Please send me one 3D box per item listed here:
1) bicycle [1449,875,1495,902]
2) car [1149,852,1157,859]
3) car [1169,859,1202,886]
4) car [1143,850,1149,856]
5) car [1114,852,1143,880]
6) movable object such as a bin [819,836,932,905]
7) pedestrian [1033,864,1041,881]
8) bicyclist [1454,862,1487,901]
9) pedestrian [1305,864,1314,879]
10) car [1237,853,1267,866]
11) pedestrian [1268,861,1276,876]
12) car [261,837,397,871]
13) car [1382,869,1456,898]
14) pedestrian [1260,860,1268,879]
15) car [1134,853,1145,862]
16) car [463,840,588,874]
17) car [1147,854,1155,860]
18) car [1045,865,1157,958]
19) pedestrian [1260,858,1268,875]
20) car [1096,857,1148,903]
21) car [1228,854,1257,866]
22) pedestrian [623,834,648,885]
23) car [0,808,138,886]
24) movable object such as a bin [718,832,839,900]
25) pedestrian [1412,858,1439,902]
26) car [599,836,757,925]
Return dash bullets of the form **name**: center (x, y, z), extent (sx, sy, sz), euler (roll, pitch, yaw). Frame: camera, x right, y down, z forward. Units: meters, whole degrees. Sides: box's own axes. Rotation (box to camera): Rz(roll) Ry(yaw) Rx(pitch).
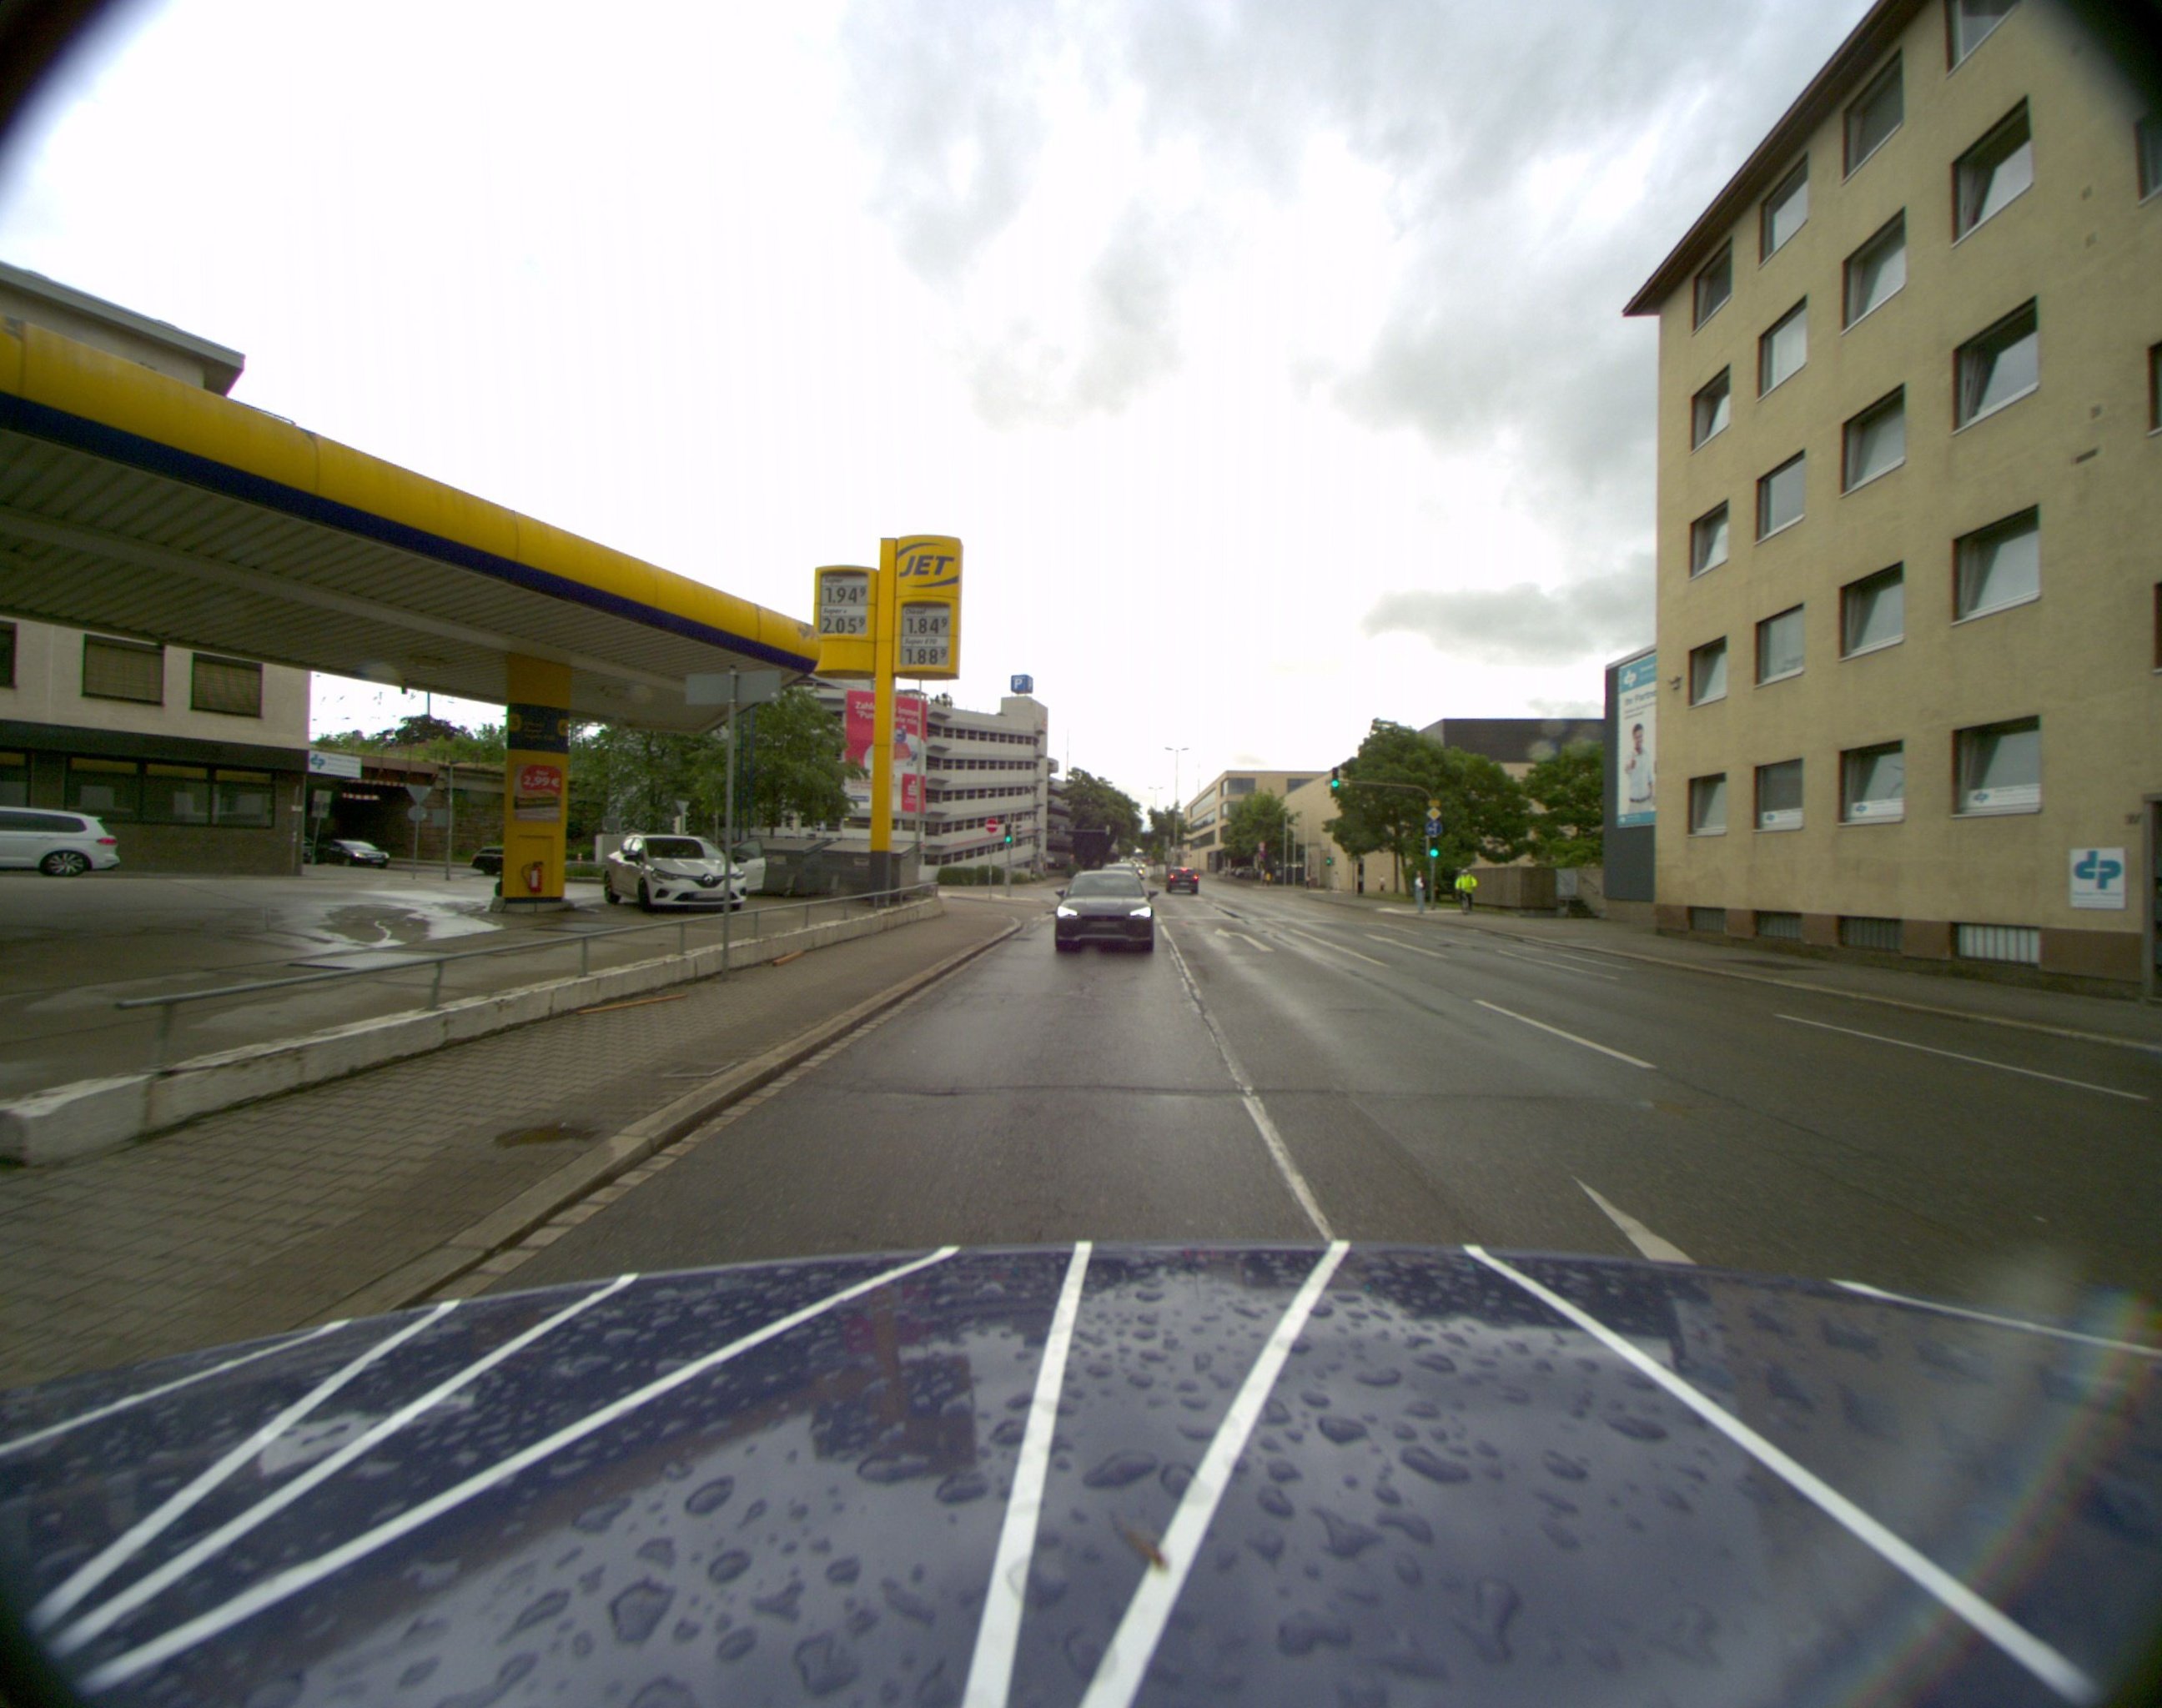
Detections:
- **bicycle**: center (14.733, 1.282, 28.684), extent (0.887, 0.902, 1.867), euler (-1, 0, 6)
- **car**: center (20.179, 0.552, 212.080), extent (1.854, 1.841, 4.301), euler (3, 0, 2)
- **car**: center (6.426, 1.109, 47.208), extent (1.811, 1.585, 4.297), euler (0, 0, 5)
- **car**: center (20.883, -0.312, 244.441), extent (1.675, 1.598, 4.301), euler (3, 0, 2)
- **car**: center (3.351, 0.835, 52.904), extent (1.804, 1.817, 3.951), euler (-2, -1, 5)
- **movable object such as a bin**: center (-4.951, 0.375, 18.542), extent (2.160, 1.565, 1.774), euler (1, 0, 5)
- **pedestrian**: center (-4.543, 1.914, 77.977), extent (0.583, 1.650, 0.519), euler (3, 2, 21)
- **bicyclist**: center (14.710, 1.037, 28.684), extent (0.844, 1.433, 0.813), euler (-1, 0, 6)
- **pedestrian**: center (20.782, 1.598, 69.137), extent (0.622, 1.368, 0.475), euler (-1, 0, 5)
- **car**: center (23.812, 0.758, 106.013), extent (3.994, 1.575, 2.001), euler (-1, 0, 8)
- **pedestrian**: center (18.628, 1.423, 74.178), extent (0.595, 1.507, 0.692), euler (-1, 0, 3)
- **car**: center (-39.563, 0.002, 40.059), extent (5.036, 1.622, 2.000), euler (-1, 0, -2)
- **car**: center (26.132, 2.247, 58.838), extent (4.788, 1.914, 2.000), euler (4, 0, 1)
- **pedestrian**: center (17.545, 1.507, 72.987), extent (0.595, 1.761, 0.692), euler (-1, 0, 3)
- **car**: center (12.320, 0.791, 160.014), extent (1.998, 1.772, 4.000), euler (-1, 0, 2)
- **car**: center (-29.262, 0.170, 40.138), extent (5.036, 1.622, 2.000), euler (-1, 0, -2)
- **car**: center (17.494, 0.685, 189.450), extent (1.675, 1.461, 4.301), euler (2, 0, 2)
- **car**: center (0.364, 0.945, 14.348), extent (1.738, 1.380, 4.583), euler (-1, 0, 1)
- **pedestrian**: center (18.227, 1.267, 75.761), extent (0.595, 1.721, 0.692), euler (-1, 0, -1)
- **car**: center (1.533, 0.968, 29.828), extent (1.846, 1.646, 4.000), euler (-1, 0, 1)
- **car**: center (23.081, 0.876, 108.753), extent (3.994, 1.575, 2.001), euler (-1, 0, 8)
- **pedestrian**: center (-13.371, 0.164, 22.808), extent (0.576, 1.506, 0.478), euler (-2, 0, -36)
- **car**: center (-25.583, -0.171, 17.598), extent (1.995, 1.715, 4.411), euler (-2, -4, 32)
- **movable object such as a bin**: center (-7.378, 0.278, 18.668), extent (2.160, 1.546, 1.774), euler (2, 0, 5)
- **pedestrian**: center (13.488, 0.991, 29.735), extent (0.718, 1.679, 0.811), euler (-1, 0, 6)
- **car**: center (-7.922, 0.420, 14.766), extent (1.750, 1.434, 3.987), euler (1, 1, -42)
